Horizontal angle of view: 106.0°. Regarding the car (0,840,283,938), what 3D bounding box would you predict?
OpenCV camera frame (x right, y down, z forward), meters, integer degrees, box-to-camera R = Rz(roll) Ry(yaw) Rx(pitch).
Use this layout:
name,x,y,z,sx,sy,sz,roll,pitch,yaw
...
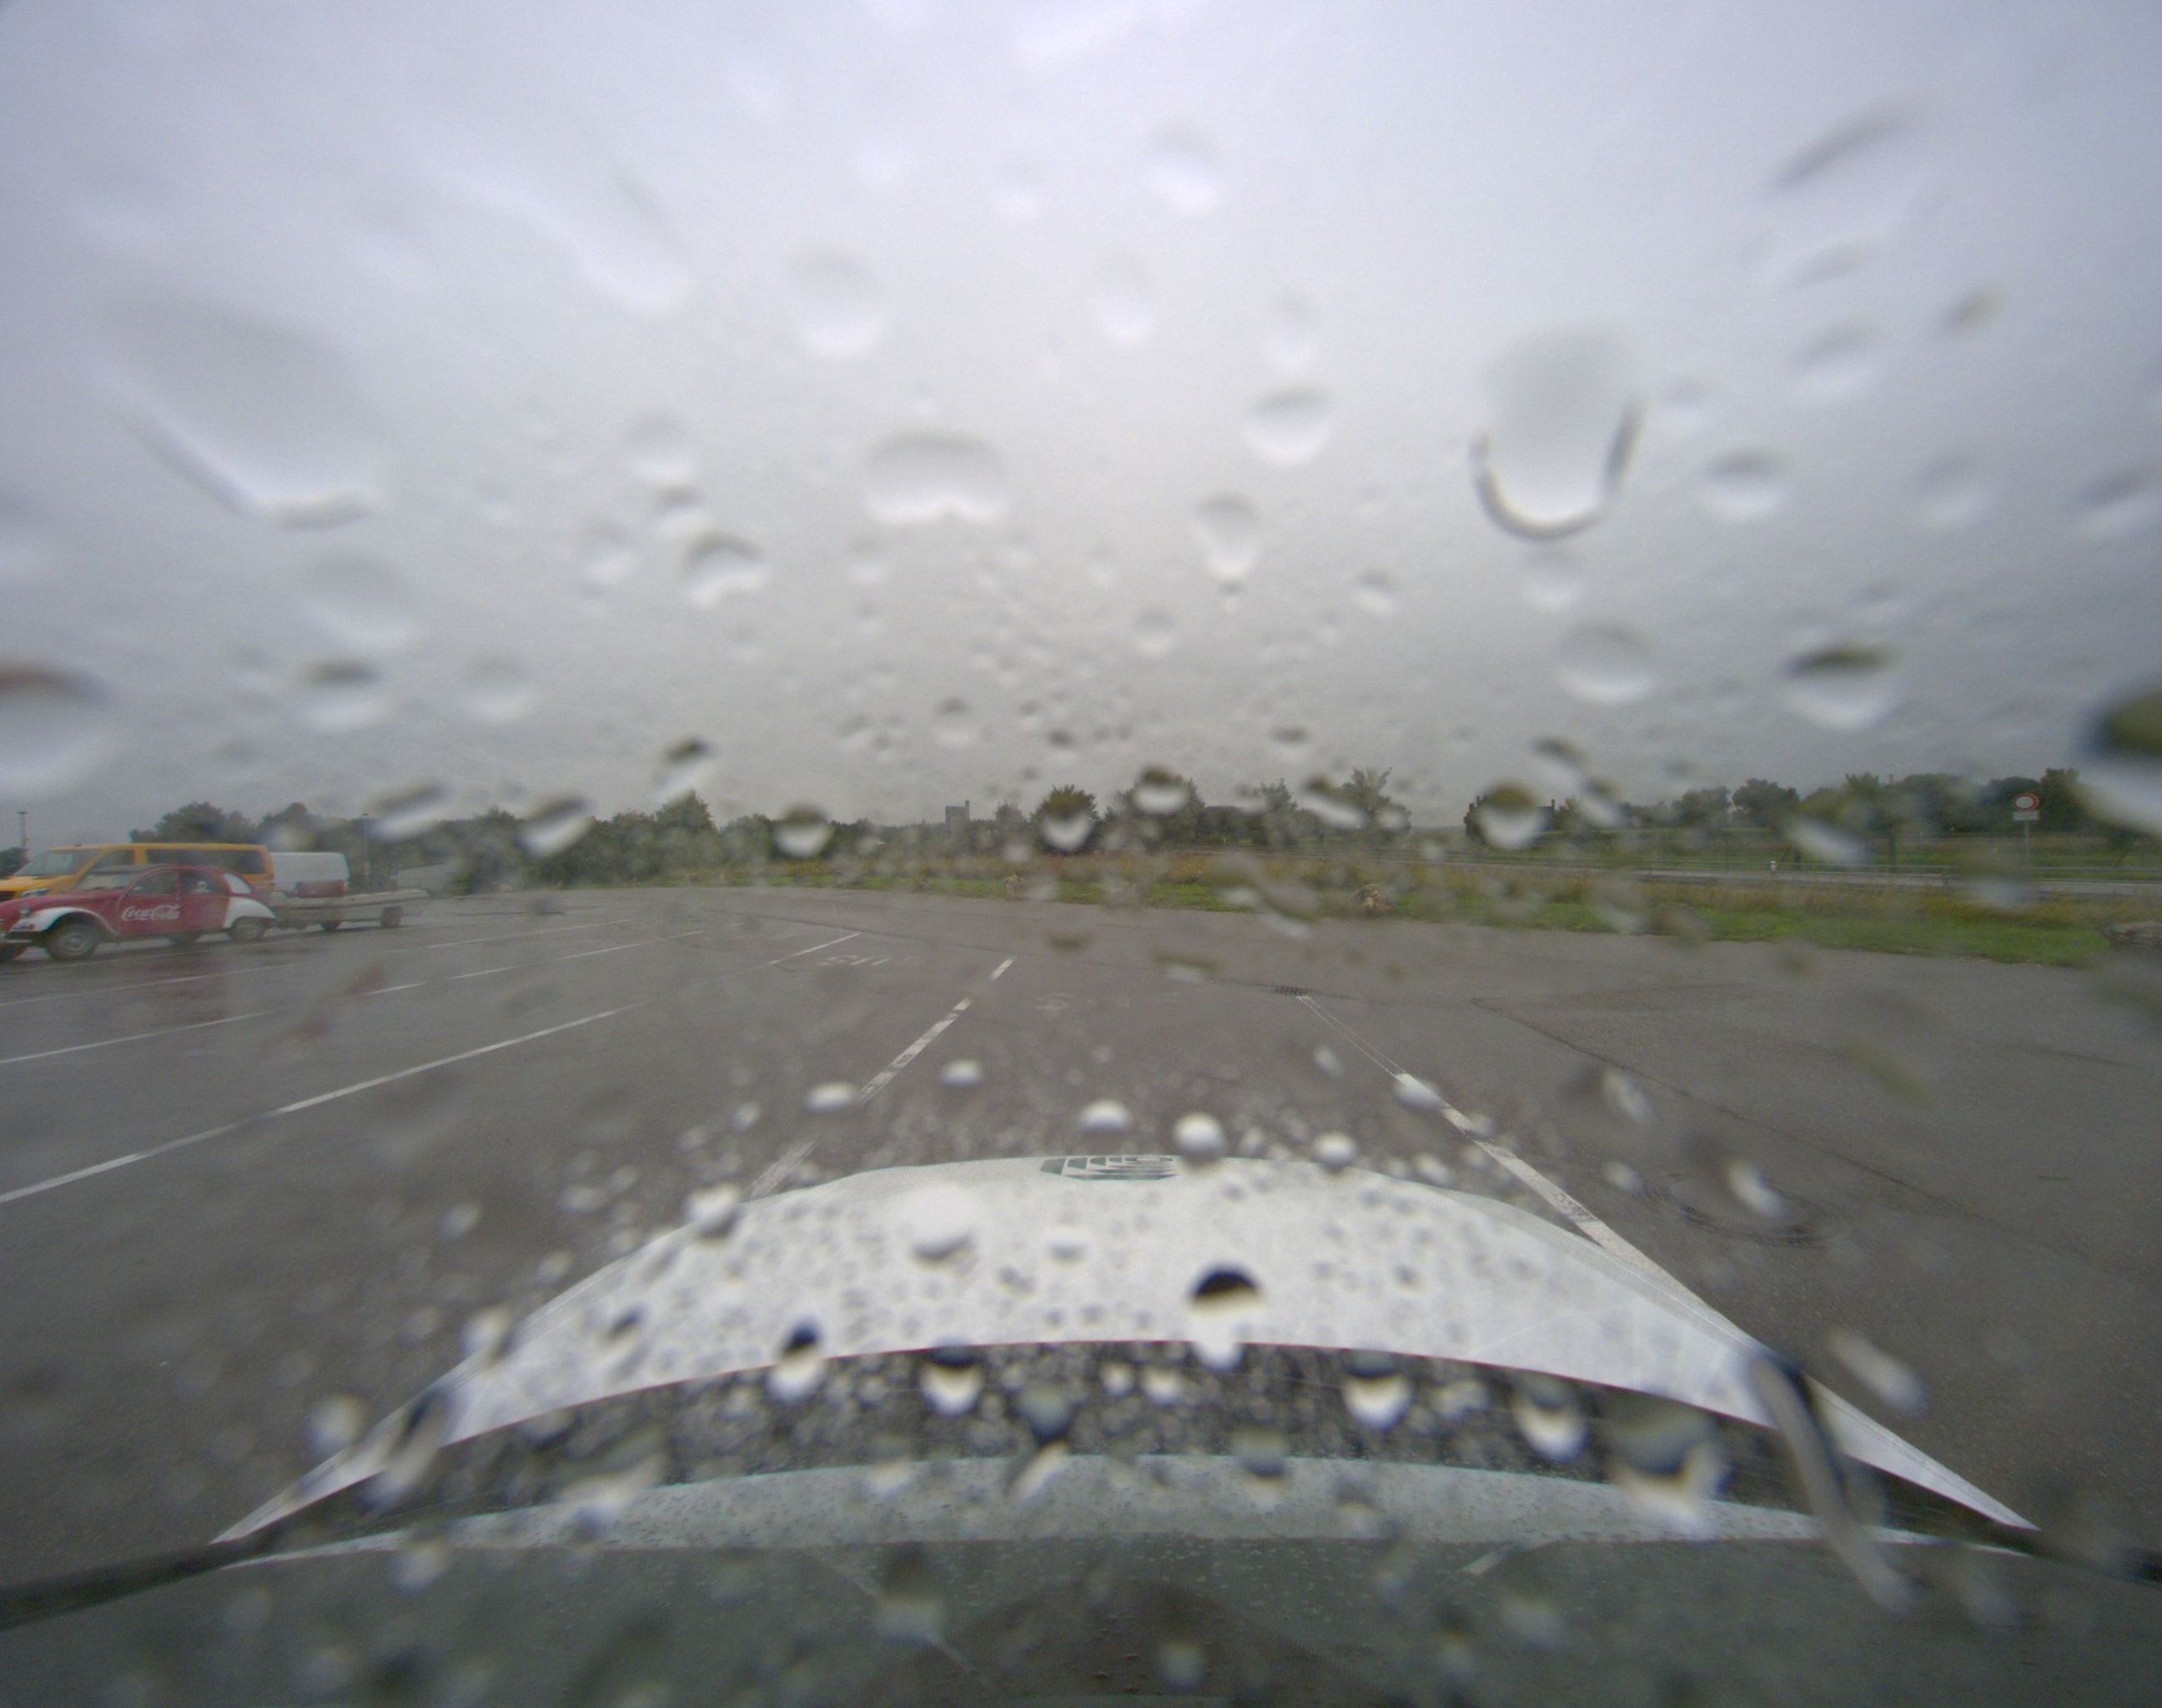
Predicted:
name,x,y,z,sx,sy,sz,roll,pitch,yaw
car,-26.766,0.907,23.147,1.986,2.380,6.028,-4,0,2

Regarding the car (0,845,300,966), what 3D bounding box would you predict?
name,x,y,z,sx,sy,sz,roll,pitch,yaw
car,-16.553,0.791,14.155,1.813,1.777,4.006,-2,0,5

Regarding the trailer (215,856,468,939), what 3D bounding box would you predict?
name,x,y,z,sx,sy,sz,roll,pitch,yaw
trailer,-16.181,0.866,18.150,1.687,1.532,4.006,-2,1,5

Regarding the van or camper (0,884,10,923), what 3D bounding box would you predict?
name,x,y,z,sx,sy,sz,roll,pitch,yaw
van or camper,-62.434,2.865,46.053,3.948,2.166,2.013,-2,0,34

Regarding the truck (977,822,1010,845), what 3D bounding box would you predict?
name,x,y,z,sx,sy,sz,roll,pitch,yaw
truck,-13.575,-3.136,126.086,2.751,3.391,8.004,-1,0,-23
